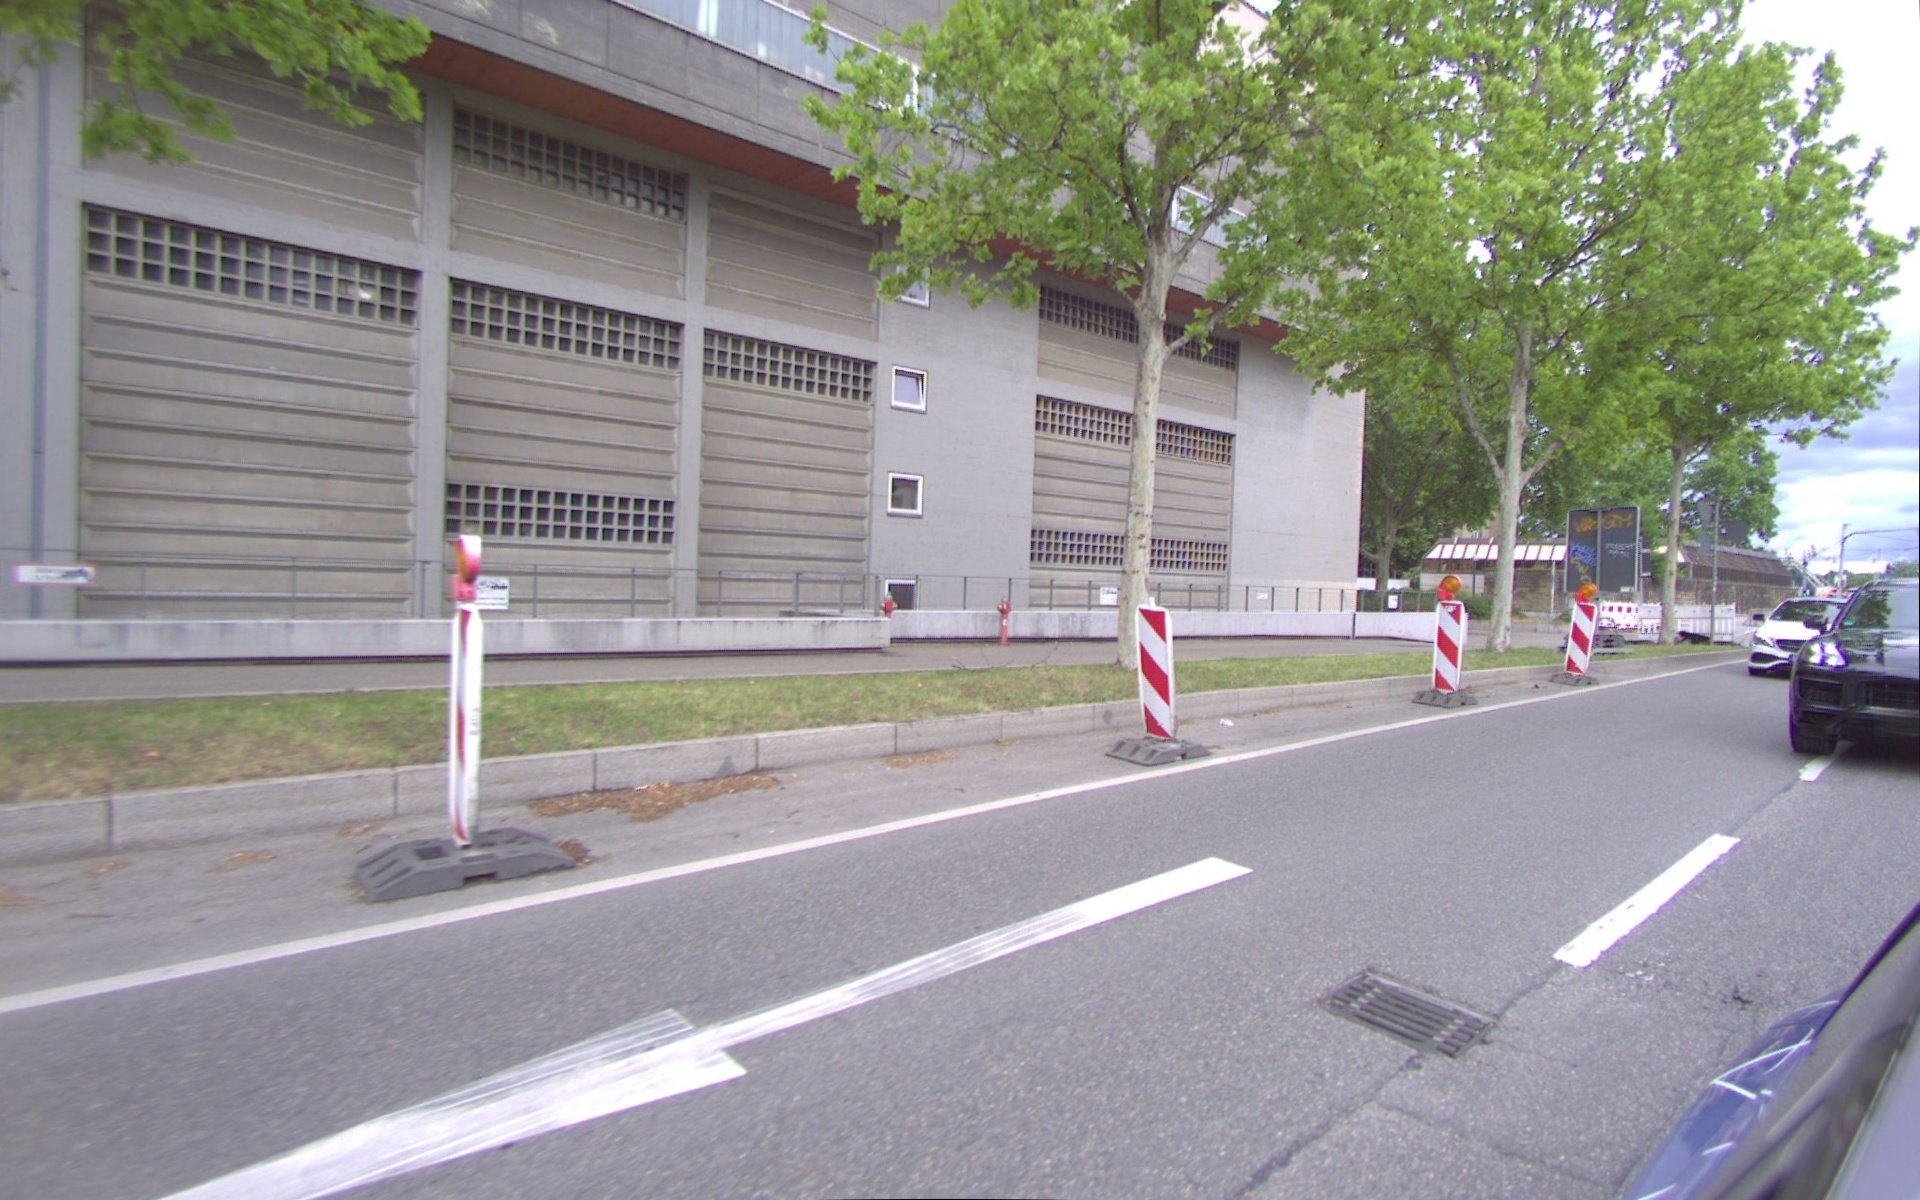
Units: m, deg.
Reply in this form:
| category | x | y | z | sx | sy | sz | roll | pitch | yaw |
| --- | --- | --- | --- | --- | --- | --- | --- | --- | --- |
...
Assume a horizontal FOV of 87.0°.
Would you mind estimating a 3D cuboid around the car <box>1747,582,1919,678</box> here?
| category | x | y | z | sx | sy | sz | roll | pitch | yaw |
| --- | --- | --- | --- | --- | --- | --- | --- | --- | --- |
| car | 15.867 | 0.479 | 18.181 | 4.302 | 1.453 | 1.739 | 1 | 3 | -39 |

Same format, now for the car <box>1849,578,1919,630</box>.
| category | x | y | z | sx | sy | sz | roll | pitch | yaw |
| --- | --- | --- | --- | --- | --- | --- | --- | --- | --- |
| car | 35.462 | 0.125 | 38.643 | 3.708 | 1.848 | 1.811 | 0 | 3 | -42 |

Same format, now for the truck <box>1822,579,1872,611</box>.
| category | x | y | z | sx | sy | sz | roll | pitch | yaw |
| --- | --- | --- | --- | --- | --- | --- | --- | --- | --- |
| truck | 110.337 | -0.637 | 126.019 | 2.888 | 3.720 | 8.928 | 3 | 2 | 31 |

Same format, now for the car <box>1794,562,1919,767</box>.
| category | x | y | z | sx | sy | sz | roll | pitch | yaw |
| --- | --- | --- | --- | --- | --- | --- | --- | --- | --- |
| car | 9.607 | 0.493 | 9.618 | 4.529 | 1.668 | 1.954 | -1 | 2 | -42 |
